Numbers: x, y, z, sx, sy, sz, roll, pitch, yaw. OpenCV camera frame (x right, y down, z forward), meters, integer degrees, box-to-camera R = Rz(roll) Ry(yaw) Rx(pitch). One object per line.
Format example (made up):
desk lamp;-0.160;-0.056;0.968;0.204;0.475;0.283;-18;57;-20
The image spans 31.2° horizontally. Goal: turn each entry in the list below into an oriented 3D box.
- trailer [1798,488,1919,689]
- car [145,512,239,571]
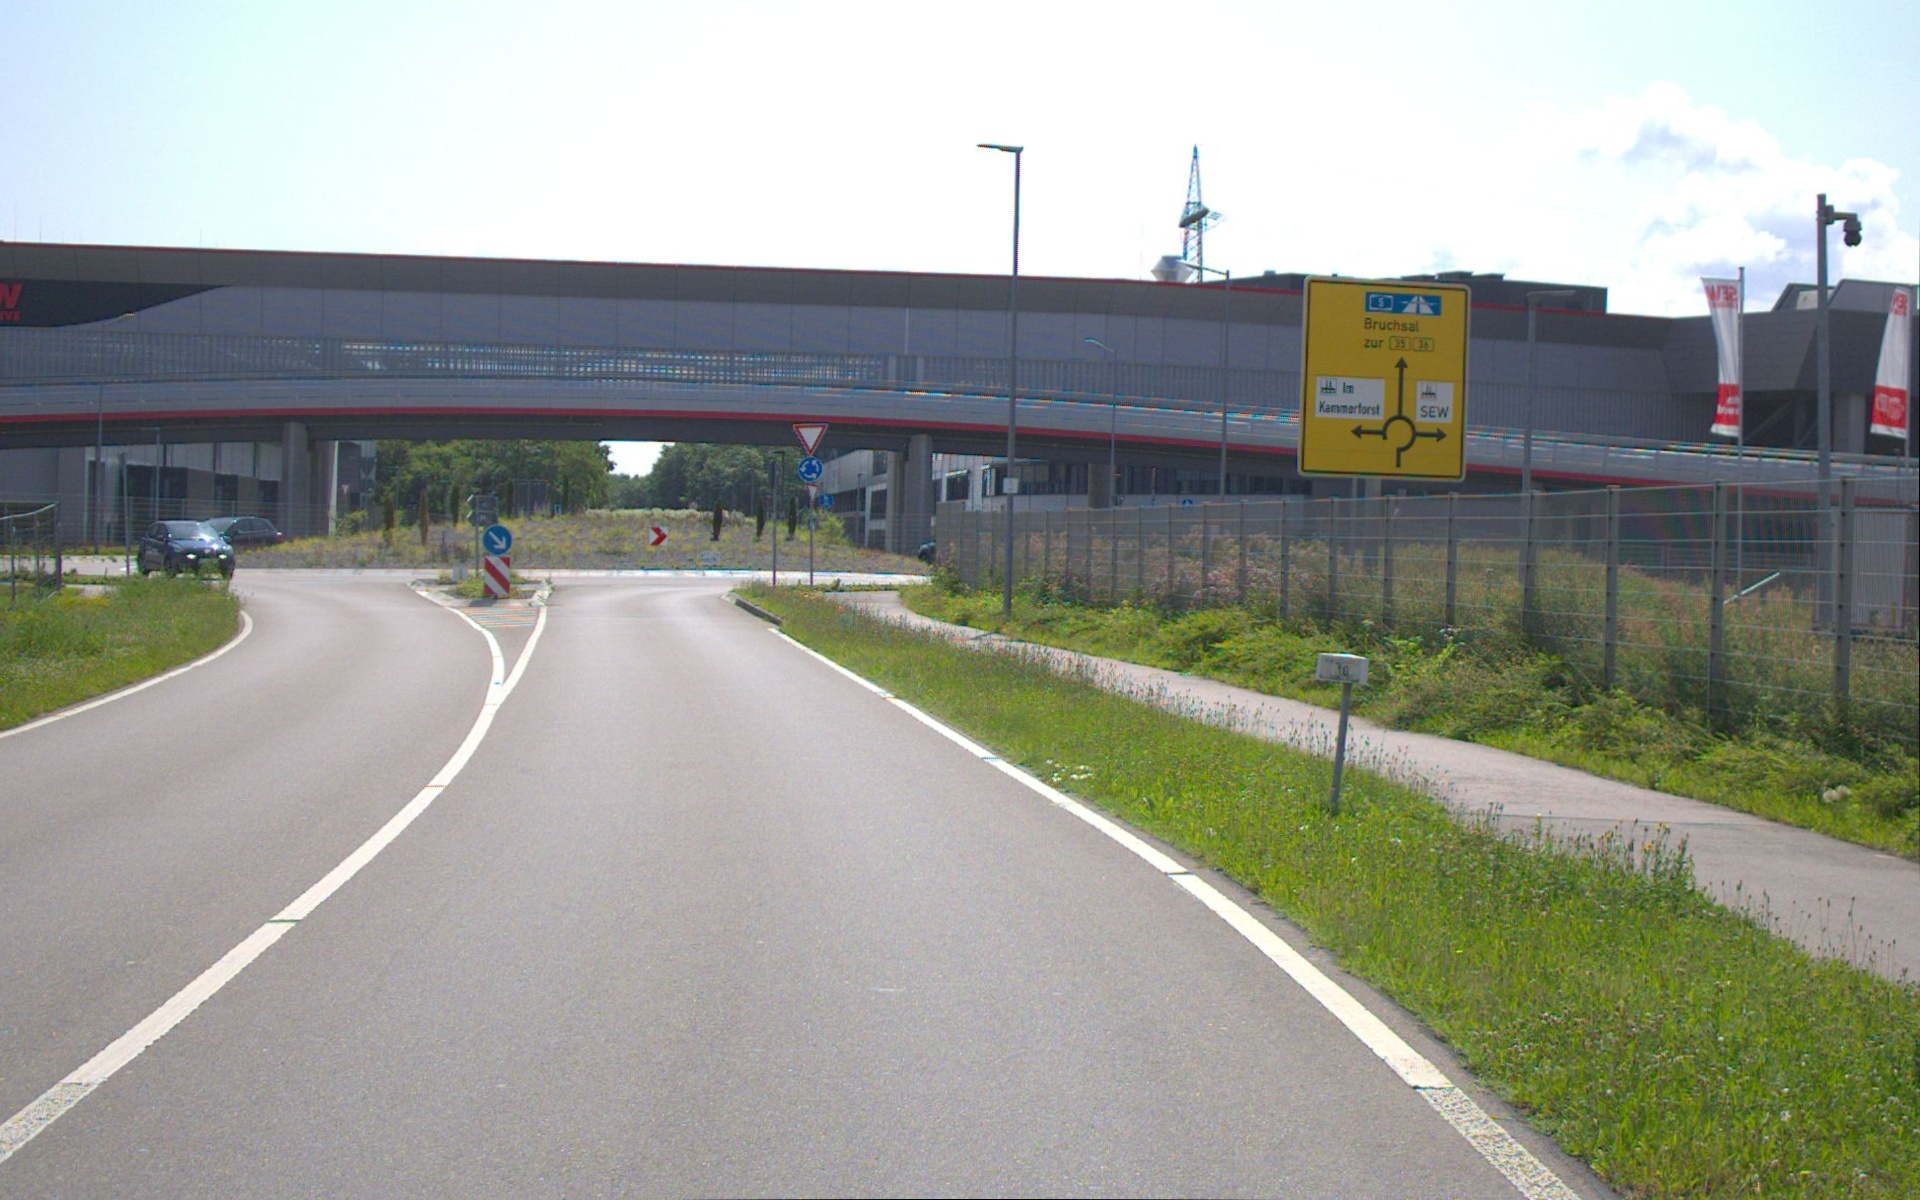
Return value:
trailer;25.226;-0.293;80.853;14.021;4.423;2.765;0;1;-39
car;-19.767;-1.507;88.390;1.702;1.477;4.001;0;1;-22
